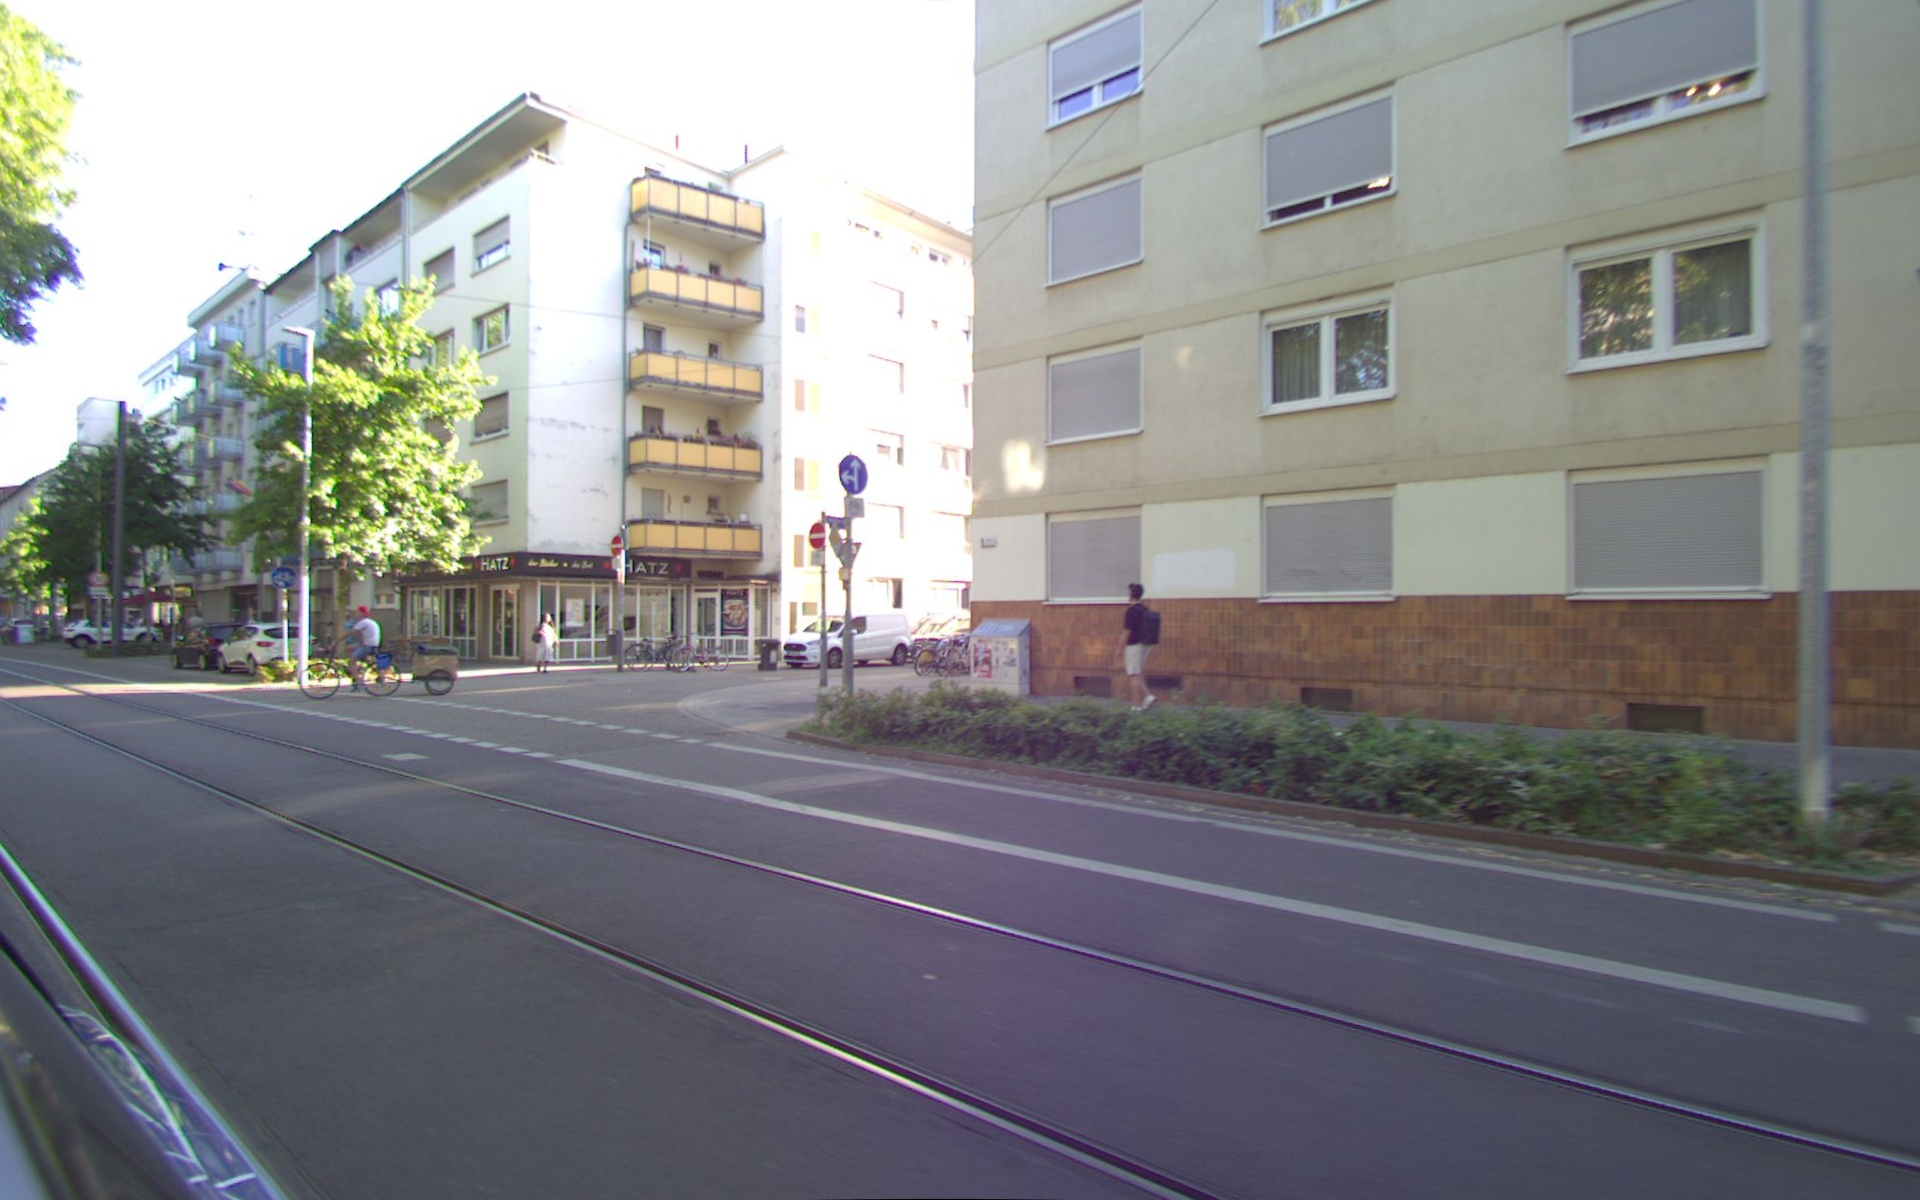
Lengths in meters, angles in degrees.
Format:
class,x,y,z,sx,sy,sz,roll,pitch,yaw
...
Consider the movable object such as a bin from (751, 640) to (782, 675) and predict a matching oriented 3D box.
class,x,y,z,sx,sy,sz,roll,pitch,yaw
movable object such as a bin,-5.540,1.643,28.950,0.638,0.980,0.589,-1,-2,30

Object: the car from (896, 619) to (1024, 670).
class,x,y,z,sx,sy,sz,roll,pitch,yaw
car,0.047,1.359,31.823,2.027,1.511,3.906,-1,-2,39

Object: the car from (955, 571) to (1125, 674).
class,x,y,z,sx,sy,sz,roll,pitch,yaw
car,2.499,0.667,30.025,2.168,2.744,5.750,-1,-2,39

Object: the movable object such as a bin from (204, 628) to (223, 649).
class,x,y,z,sx,sy,sz,roll,pitch,yaw
movable object such as a bin,-38.479,1.980,52.187,0.622,1.063,0.670,-1,-2,43

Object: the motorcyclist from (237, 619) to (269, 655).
class,x,y,z,sx,sy,sz,roll,pitch,yaw
motorcyclist,-29.258,1.527,41.866,1.016,1.451,0.864,-1,-2,42

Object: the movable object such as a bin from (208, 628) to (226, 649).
class,x,y,z,sx,sy,sz,roll,pitch,yaw
movable object such as a bin,-38.002,1.962,51.762,0.574,1.063,0.665,-1,-2,43

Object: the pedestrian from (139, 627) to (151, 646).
class,x,y,z,sx,sy,sz,roll,pitch,yaw
pedestrian,-51.355,2.298,63.769,0.564,1.207,0.506,-1,-2,43

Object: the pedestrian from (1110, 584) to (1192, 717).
class,x,y,z,sx,sy,sz,roll,pitch,yaw
pedestrian,2.737,0.710,14.533,0.964,1.840,0.657,-1,-2,40

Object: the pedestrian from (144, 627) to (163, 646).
class,x,y,z,sx,sy,sz,roll,pitch,yaw
pedestrian,-50.188,2.281,63.010,0.683,1.207,0.601,0,-2,6

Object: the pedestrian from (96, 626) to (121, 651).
class,x,y,z,sx,sy,sz,roll,pitch,yaw
pedestrian,-45.485,2.041,54.049,0.907,1.307,0.708,-1,-2,27

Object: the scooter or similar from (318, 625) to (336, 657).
class,x,y,z,sx,sy,sz,roll,pitch,yaw
scooter or similar,-25.796,1.671,41.251,0.370,1.299,1.238,4,-4,-41

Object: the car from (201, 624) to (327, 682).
class,x,y,z,sx,sy,sz,roll,pitch,yaw
car,-20.292,1.486,29.436,4.370,1.475,1.697,-1,2,37

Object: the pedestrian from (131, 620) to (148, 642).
class,x,y,z,sx,sy,sz,roll,pitch,yaw
pedestrian,-57.307,2.152,70.649,0.767,1.568,0.718,-1,-2,36

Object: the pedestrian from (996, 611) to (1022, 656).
class,x,y,z,sx,sy,sz,roll,pitch,yaw
pedestrian,2.001,1.341,41.233,0.765,1.814,0.824,-1,-2,37

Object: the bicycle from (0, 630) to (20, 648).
class,x,y,z,sx,sy,sz,roll,pitch,yaw
bicycle,-55.395,2.262,58.318,0.657,1.015,1.676,-1,0,36

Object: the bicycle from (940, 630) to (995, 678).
class,x,y,z,sx,sy,sz,roll,pitch,yaw
bicycle,0.207,1.371,25.805,0.582,1.165,1.735,-1,-3,32

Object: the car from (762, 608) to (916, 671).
class,x,y,z,sx,sy,sz,roll,pitch,yaw
car,-3.677,1.194,31.652,2.035,1.836,4.830,-1,-2,37

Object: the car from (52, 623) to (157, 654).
class,x,y,z,sx,sy,sz,roll,pitch,yaw
car,-44.145,1.954,52.270,1.852,1.486,3.968,-1,0,43

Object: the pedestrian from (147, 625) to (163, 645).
class,x,y,z,sx,sy,sz,roll,pitch,yaw
pedestrian,-49.593,2.156,62.377,0.558,1.207,0.511,0,-2,12

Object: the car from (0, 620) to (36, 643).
class,x,y,z,sx,sy,sz,roll,pitch,yaw
car,-74.240,2.472,79.551,4.355,1.663,1.859,-1,0,40

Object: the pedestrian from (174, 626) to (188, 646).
class,x,y,z,sx,sy,sz,roll,pitch,yaw
pedestrian,-47.913,2.230,62.244,0.623,1.207,0.556,-1,-2,40

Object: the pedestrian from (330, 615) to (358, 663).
class,x,y,z,sx,sy,sz,roll,pitch,yaw
pedestrian,-22.157,1.387,36.400,0.748,1.704,0.657,-1,-2,39

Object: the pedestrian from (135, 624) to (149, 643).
class,x,y,z,sx,sy,sz,roll,pitch,yaw
pedestrian,-52.537,2.138,64.988,0.560,1.207,0.509,-1,-2,25

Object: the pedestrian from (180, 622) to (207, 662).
class,x,y,z,sx,sy,sz,roll,pitch,yaw
pedestrian,-33.258,1.797,43.925,0.794,1.704,0.756,-1,-2,39

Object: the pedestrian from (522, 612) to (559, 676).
class,x,y,z,sx,sy,sz,roll,pitch,yaw
pedestrian,-11.466,1.195,27.686,0.748,1.704,0.657,-1,-2,39

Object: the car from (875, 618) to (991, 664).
class,x,y,z,sx,sy,sz,roll,pitch,yaw
car,-0.902,1.414,35.502,2.027,1.511,3.906,-1,-2,39

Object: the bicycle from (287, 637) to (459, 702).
class,x,y,z,sx,sy,sz,roll,pitch,yaw
bicycle,-11.345,1.323,19.681,2.757,1.165,0.924,0,-1,-16

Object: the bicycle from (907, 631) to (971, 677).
class,x,y,z,sx,sy,sz,roll,pitch,yaw
bicycle,-0.526,1.413,26.482,1.728,1.165,0.585,4,-4,-45

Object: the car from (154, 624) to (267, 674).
class,x,y,z,sx,sy,sz,roll,pitch,yaw
car,-24.081,1.517,32.487,3.990,1.475,1.699,-1,0,34

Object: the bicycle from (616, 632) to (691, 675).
class,x,y,z,sx,sy,sz,roll,pitch,yaw
bicycle,-8.671,1.523,28.708,1.918,1.165,0.573,3,-3,-35

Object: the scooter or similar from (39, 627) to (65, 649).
class,x,y,z,sx,sy,sz,roll,pitch,yaw
scooter or similar,-52.622,2.199,58.635,0.498,1.185,1.069,-1,0,39

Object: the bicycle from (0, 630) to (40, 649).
class,x,y,z,sx,sy,sz,roll,pitch,yaw
bicycle,-53.576,2.247,57.502,0.657,1.015,1.813,-1,0,36

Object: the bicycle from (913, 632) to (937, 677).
class,x,y,z,sx,sy,sz,roll,pitch,yaw
bicycle,-0.958,1.455,27.301,0.575,1.165,1.604,1,-3,-4

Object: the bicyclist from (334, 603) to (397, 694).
class,x,y,z,sx,sy,sz,roll,pitch,yaw
bicyclist,-11.524,0.916,19.642,0.859,1.717,0.910,0,-1,-16

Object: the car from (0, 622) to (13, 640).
class,x,y,z,sx,sy,sz,roll,pitch,yaw
car,-83.439,2.674,87.406,4.387,1.556,1.935,-1,-3,41

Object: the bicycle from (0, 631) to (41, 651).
class,x,y,z,sx,sy,sz,roll,pitch,yaw
bicycle,-51.384,2.224,55.250,0.657,1.015,1.676,-1,0,36

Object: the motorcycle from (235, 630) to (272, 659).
class,x,y,z,sx,sy,sz,roll,pitch,yaw
motorcycle,-29.210,1.810,41.832,1.915,1.173,0.840,-1,-2,43

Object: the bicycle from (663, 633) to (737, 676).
class,x,y,z,sx,sy,sz,roll,pitch,yaw
bicycle,-7.323,1.538,28.573,1.917,1.165,0.574,3,-3,-29

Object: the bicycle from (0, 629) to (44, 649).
class,x,y,z,sx,sy,sz,roll,pitch,yaw
bicycle,-52.258,2.165,56.309,0.657,1.015,1.813,-1,0,36

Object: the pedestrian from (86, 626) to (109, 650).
class,x,y,z,sx,sy,sz,roll,pitch,yaw
pedestrian,-46.592,2.051,54.663,0.744,1.307,0.708,-1,-2,27

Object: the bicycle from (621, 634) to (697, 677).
class,x,y,z,sx,sy,sz,roll,pitch,yaw
bicycle,-8.429,1.552,28.369,1.918,1.165,0.573,3,-3,-35

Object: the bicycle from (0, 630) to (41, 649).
class,x,y,z,sx,sy,sz,roll,pitch,yaw
bicycle,-53.848,2.250,57.861,0.657,1.015,1.813,-1,0,36

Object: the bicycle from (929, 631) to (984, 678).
class,x,y,z,sx,sy,sz,roll,pitch,yaw
bicycle,-0.075,1.409,26.026,0.582,1.165,1.735,-1,-3,32
